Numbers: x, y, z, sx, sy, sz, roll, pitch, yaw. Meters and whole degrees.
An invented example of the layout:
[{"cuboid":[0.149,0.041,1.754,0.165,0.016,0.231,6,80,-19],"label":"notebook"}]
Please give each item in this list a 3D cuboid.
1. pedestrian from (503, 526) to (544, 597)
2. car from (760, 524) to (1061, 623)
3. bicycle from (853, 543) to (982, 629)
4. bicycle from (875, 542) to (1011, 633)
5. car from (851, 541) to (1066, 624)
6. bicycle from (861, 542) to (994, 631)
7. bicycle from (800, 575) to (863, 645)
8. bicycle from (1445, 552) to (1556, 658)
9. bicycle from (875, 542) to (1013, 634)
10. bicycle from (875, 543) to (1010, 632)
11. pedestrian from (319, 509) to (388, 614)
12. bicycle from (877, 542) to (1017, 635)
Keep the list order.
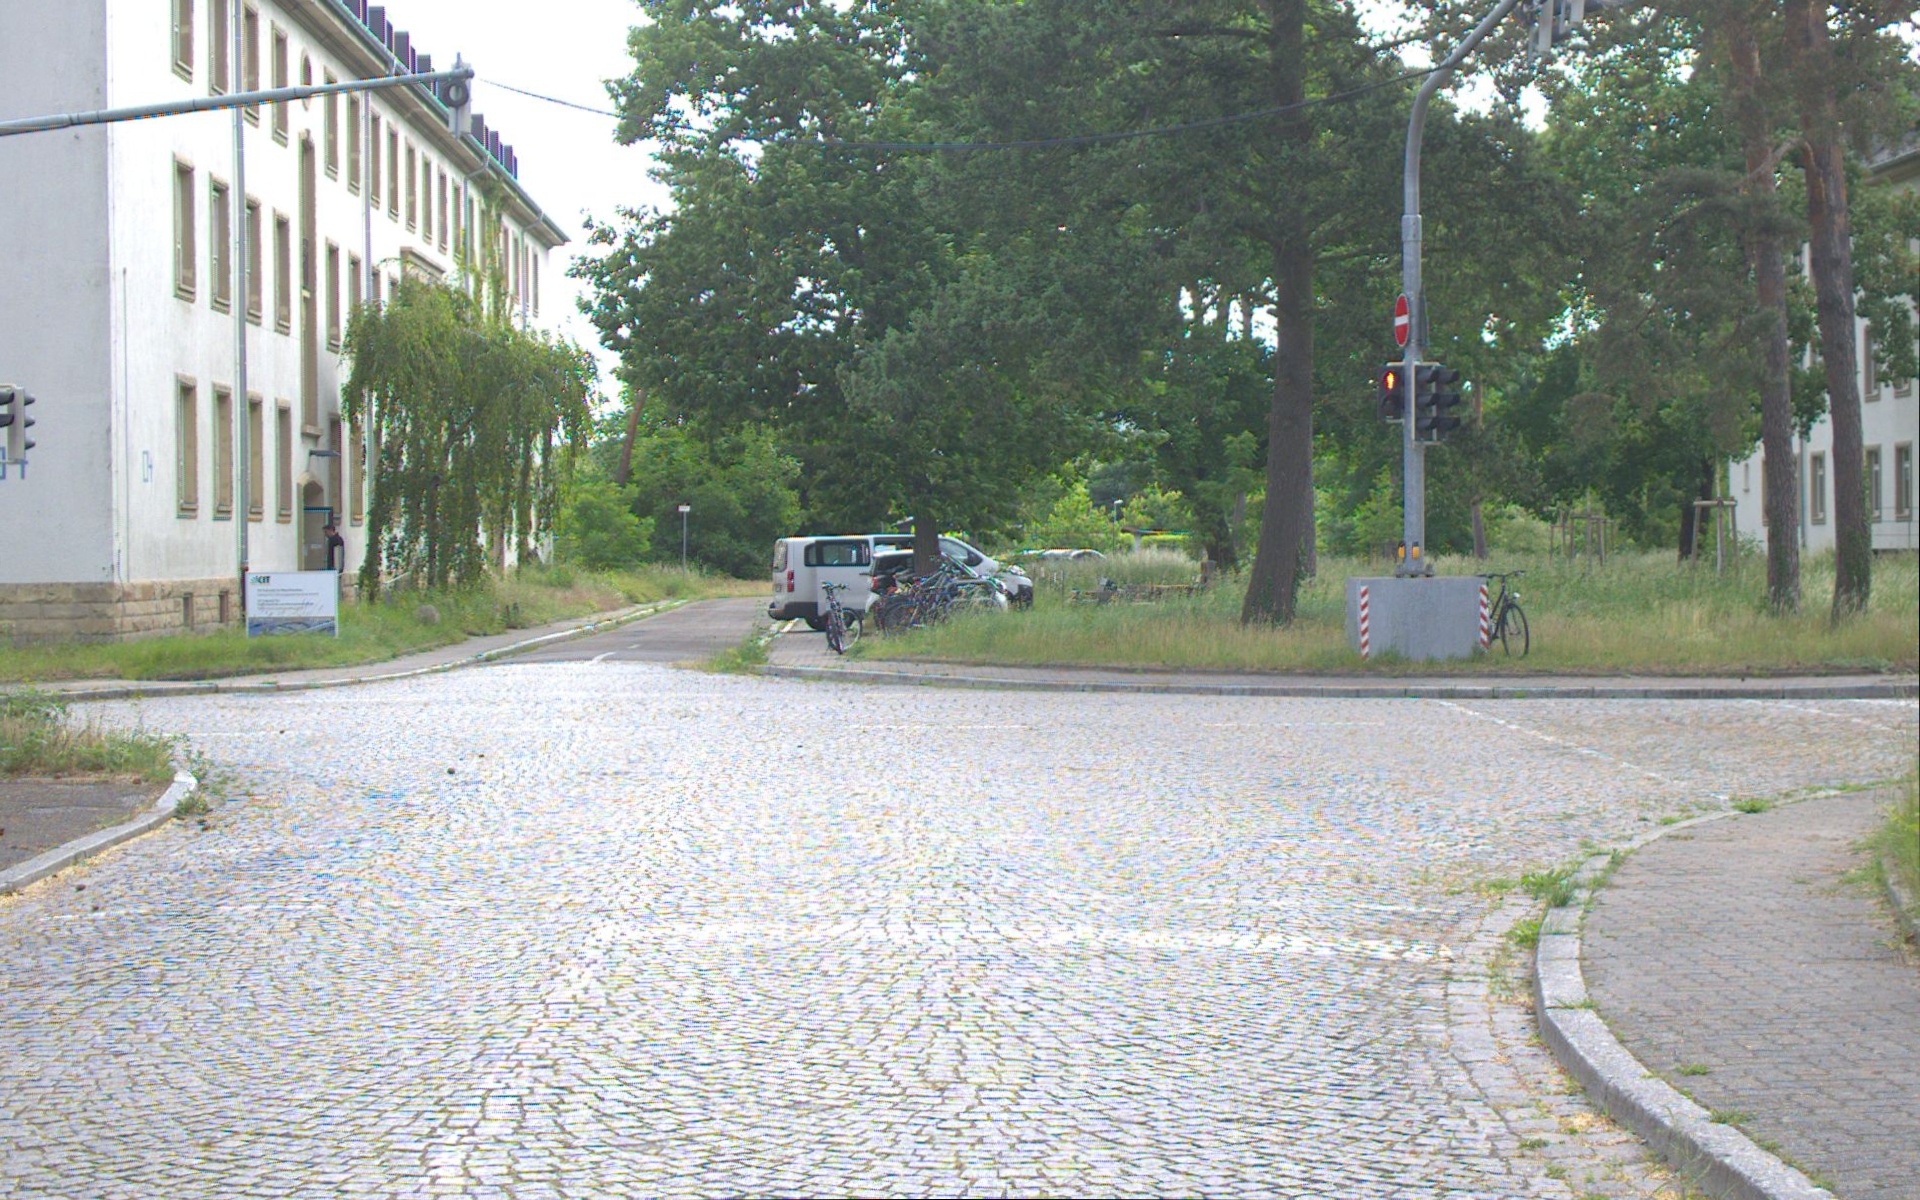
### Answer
[{"cuboid":[-12.500,-1.100,98.516,0.959,2.007,0.795,0,1,9],"label":"pedestrian"},{"cuboid":[-1.016,-0.545,69.289,5.690,1.904,2.231,-1,1,-13],"label":"car"},{"cuboid":[-0.681,-0.231,55.779,2.070,1.373,0.620,0,1,0],"label":"bicycle"},{"cuboid":[-0.262,-0.192,52.701,2.070,1.373,0.620,0,1,0],"label":"bicycle"},{"cuboid":[-0.053,-0.350,65.929,3.932,1.539,2.000,-1,1,-5],"label":"car"},{"cuboid":[-0.513,-0.215,54.295,2.070,1.373,0.620,0,1,0],"label":"bicycle"},{"cuboid":[-1.847,0.137,49.600,0.618,0.960,2.076,0,1,6],"label":"bicycle"},{"cuboid":[6.146,0.042,39.190,0.908,1.173,1.874,-1,1,-2],"label":"bicycle"},{"cuboid":[-0.246,-0.186,52.077,2.070,1.373,0.620,0,1,0],"label":"bicycle"},{"cuboid":[-0.271,-0.200,53.498,2.070,1.373,0.620,0,1,0],"label":"bicycle"},{"cuboid":[-11.776,-0.749,66.802,1.087,2.007,1.021,0,1,4],"label":"pedestrian"},{"cuboid":[-0.189,-0.178,51.406,2.070,1.373,0.620,0,1,0],"label":"bicycle"}]
